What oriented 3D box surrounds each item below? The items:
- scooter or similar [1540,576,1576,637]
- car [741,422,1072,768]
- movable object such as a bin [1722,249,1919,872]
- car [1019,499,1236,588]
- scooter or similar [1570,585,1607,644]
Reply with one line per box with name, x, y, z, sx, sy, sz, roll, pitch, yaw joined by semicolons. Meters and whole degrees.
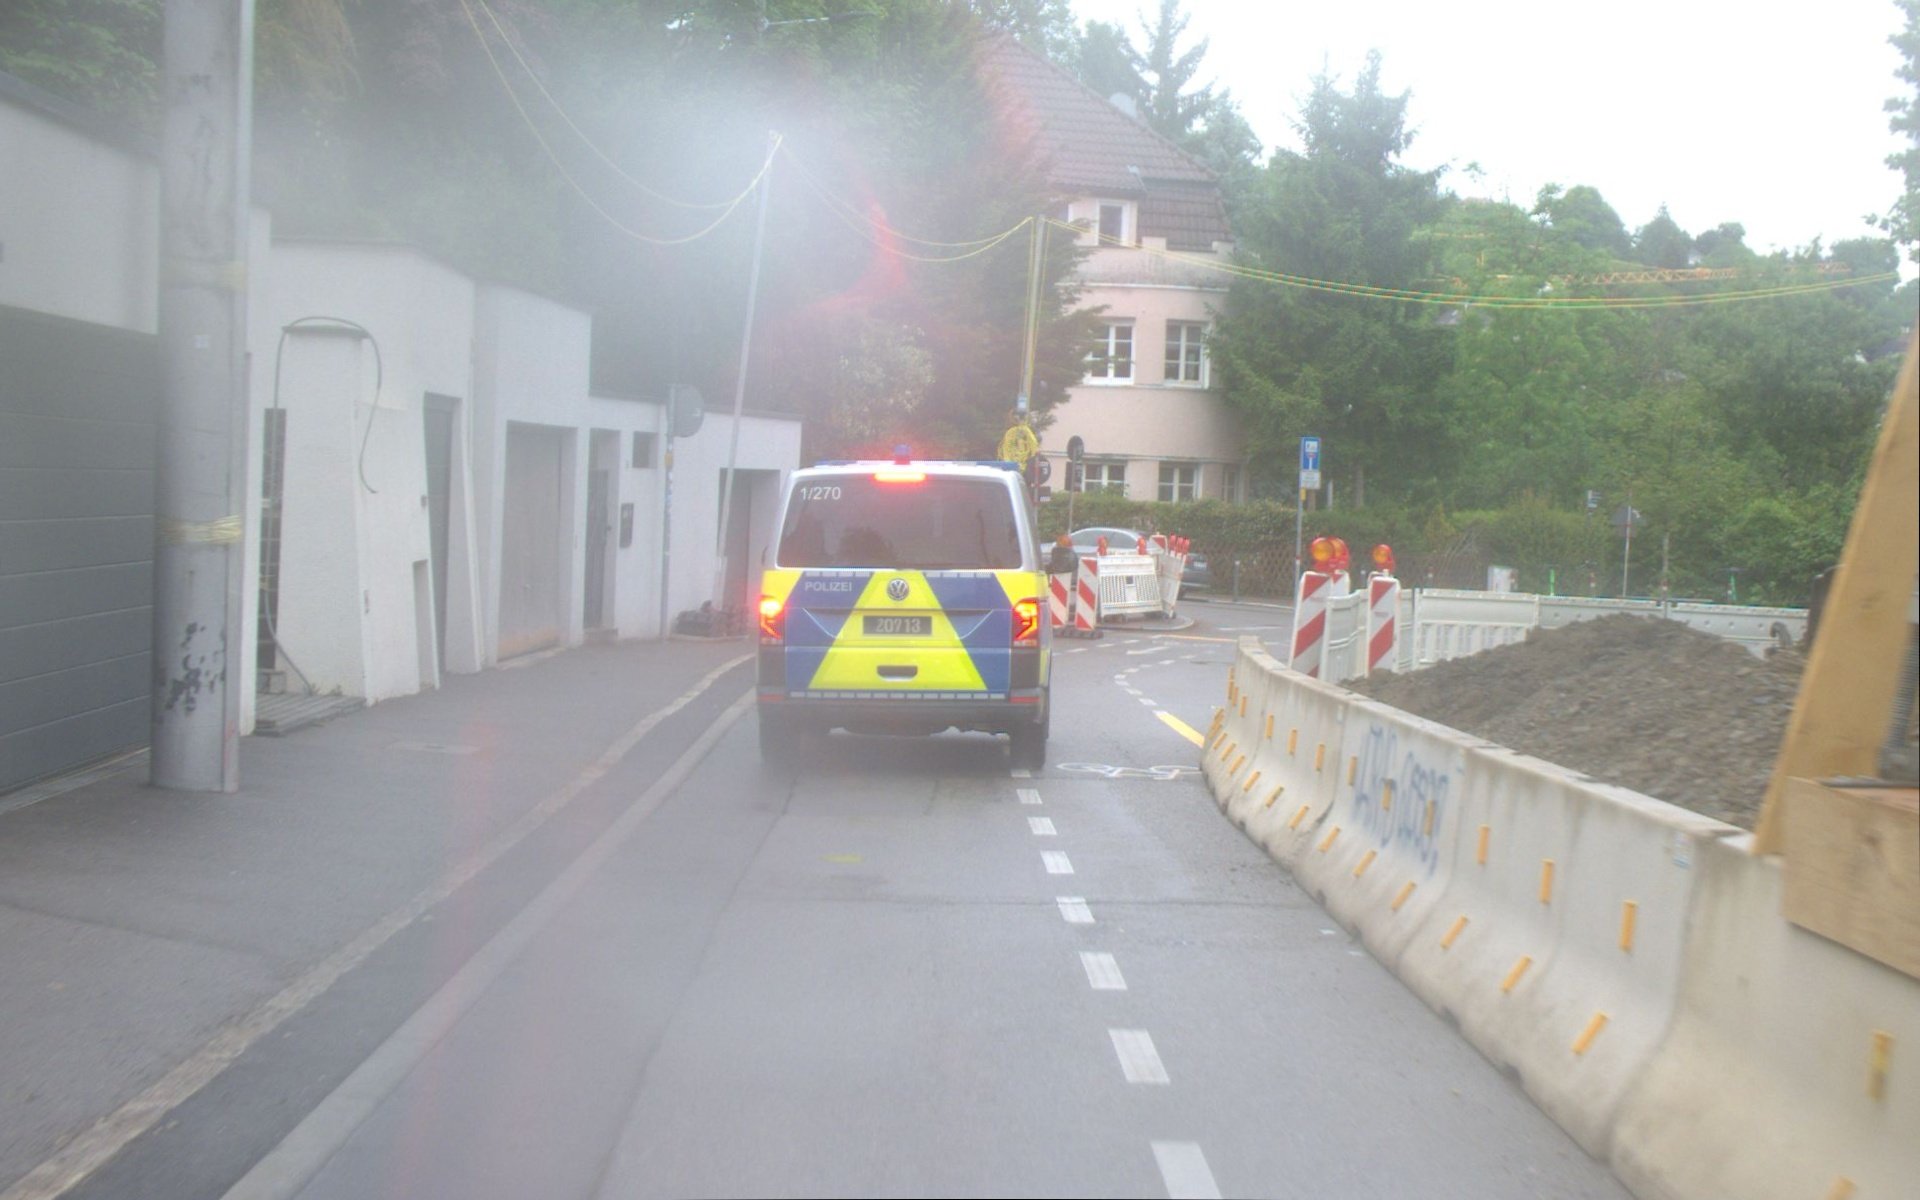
scooter or similar;11.925;0.128;68.569;0.464;1.182;1.025;4;0;1
car;-0.274;-0.042;23.381;1.908;2.003;4.439;4;0;2
movable object such as a bin;5.996;-0.151;18.521;2.494;3.065;5.588;4;0;2
car;3.404;-1.160;70.087;3.994;1.512;1.725;4;0;30
scooter or similar;12.473;0.280;68.246;0.464;1.140;0.995;4;0;0
